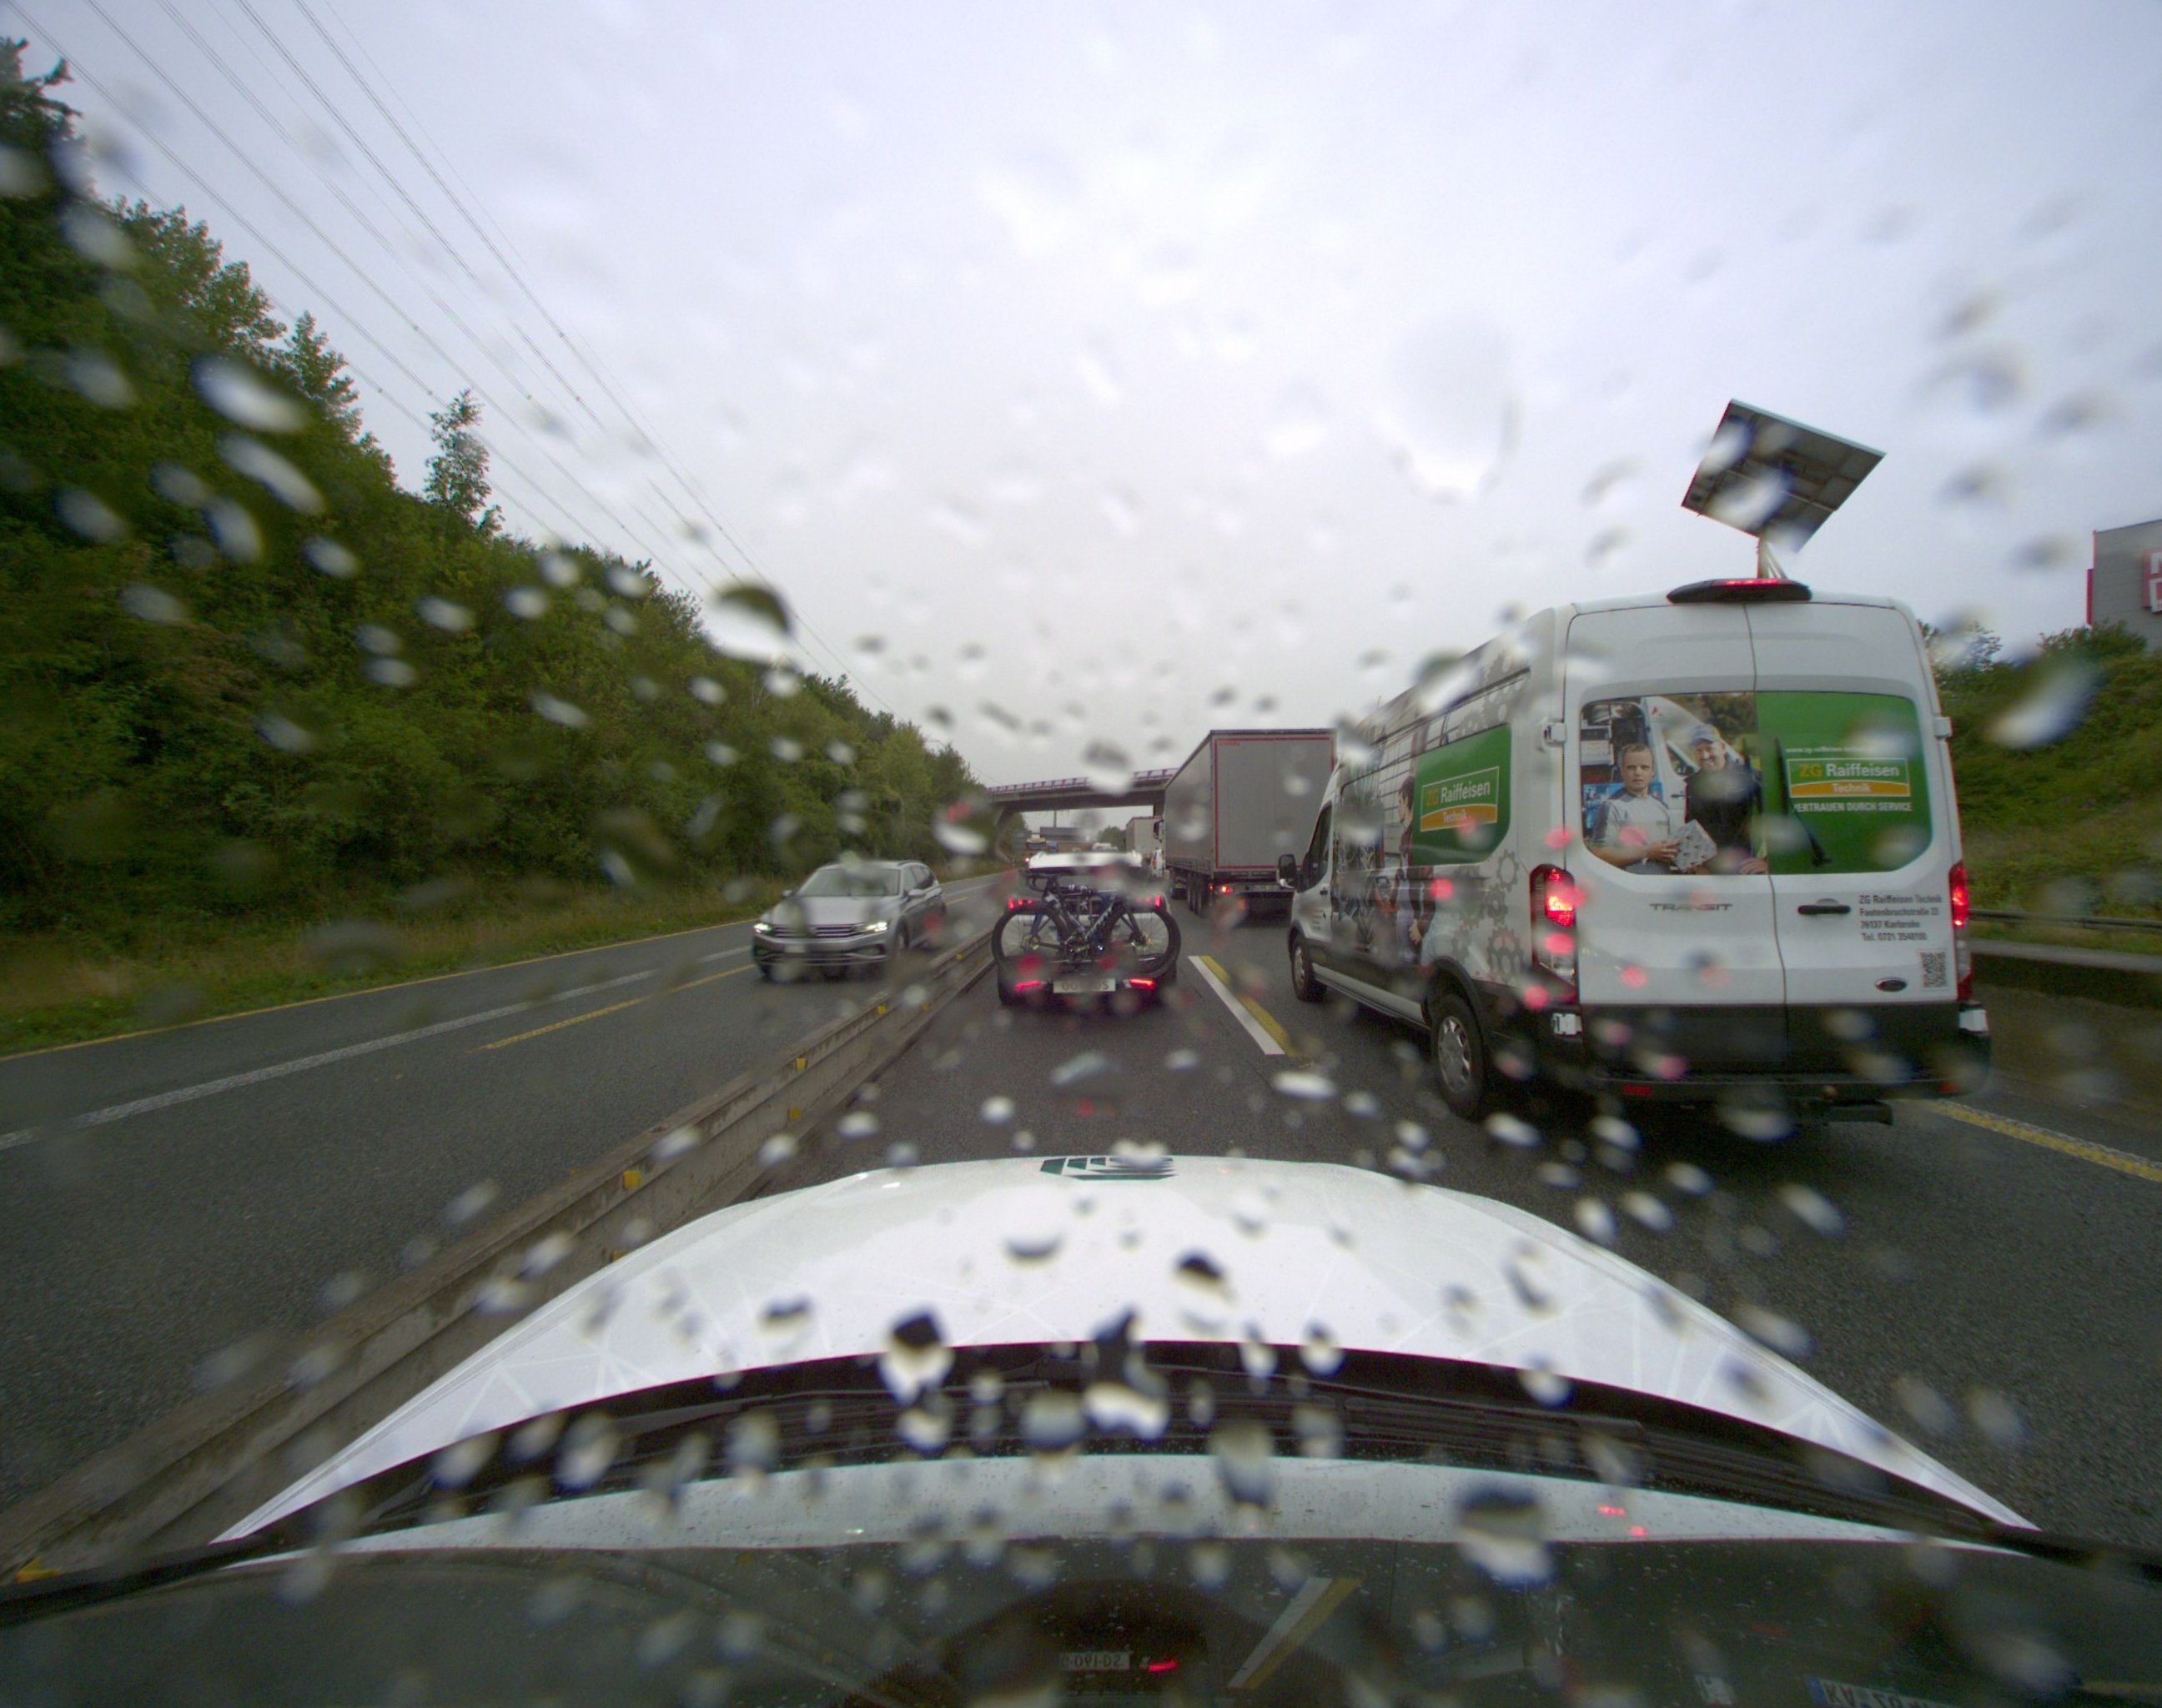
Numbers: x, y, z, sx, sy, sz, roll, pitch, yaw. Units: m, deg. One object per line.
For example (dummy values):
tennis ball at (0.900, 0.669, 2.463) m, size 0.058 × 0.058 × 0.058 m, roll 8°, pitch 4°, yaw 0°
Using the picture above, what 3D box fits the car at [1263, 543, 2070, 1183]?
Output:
car at (3.137, 0.059, 6.489) m, size 2.136 × 2.676 × 6.119 m, roll -1°, pitch -1°, yaw 2°

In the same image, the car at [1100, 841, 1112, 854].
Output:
car at (4.953, -1.229, 158.436) m, size 2.230 × 2.307 × 4.574 m, roll -1°, pitch -1°, yaw 2°

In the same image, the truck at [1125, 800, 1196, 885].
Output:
truck at (5.967, -0.720, 65.150) m, size 4.723 × 5.673 × 20.393 m, roll -1°, pitch 0°, yaw 3°

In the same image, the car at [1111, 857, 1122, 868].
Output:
car at (5.237, 1.208, 119.367) m, size 1.632 × 1.497 × 3.668 m, roll -1°, pitch 0°, yaw 2°

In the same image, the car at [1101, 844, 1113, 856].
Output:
car at (4.663, -0.687, 145.208) m, size 1.986 × 2.014 × 4.002 m, roll -1°, pitch -1°, yaw 2°

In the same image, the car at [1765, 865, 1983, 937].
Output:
car at (22.677, 1.259, 23.612) m, size 1.934 × 1.829 × 4.732 m, roll -1°, pitch 0°, yaw 4°

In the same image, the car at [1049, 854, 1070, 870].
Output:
car at (-2.030, 0.755, 76.893) m, size 1.773 × 1.443 × 4.329 m, roll -1°, pitch 0°, yaw 1°

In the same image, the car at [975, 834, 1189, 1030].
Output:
car at (0.142, 0.681, 9.213) m, size 1.802 × 1.637 × 4.639 m, roll -1°, pitch 0°, yaw 3°

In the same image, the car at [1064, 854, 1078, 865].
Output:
car at (-1.523, 0.771, 123.229) m, size 1.928 × 1.607 × 4.122 m, roll -1°, pitch 0°, yaw 2°

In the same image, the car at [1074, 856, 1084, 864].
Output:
car at (-0.327, 1.015, 147.489) m, size 1.680 × 1.409 × 3.930 m, roll -1°, pitch 0°, yaw 1°

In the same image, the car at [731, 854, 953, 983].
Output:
car at (-3.153, 0.771, 11.758) m, size 1.803 × 1.488 × 4.397 m, roll -1°, pitch 0°, yaw 1°

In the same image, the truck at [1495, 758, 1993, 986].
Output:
truck at (11.521, 0.285, 15.874) m, size 2.511 × 3.132 × 9.123 m, roll -1°, pitch 0°, yaw 2°

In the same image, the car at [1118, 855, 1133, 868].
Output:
car at (5.161, 0.862, 94.324) m, size 1.632 × 1.497 × 3.668 m, roll -1°, pitch 0°, yaw 2°

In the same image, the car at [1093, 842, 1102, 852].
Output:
car at (3.734, -1.508, 181.072) m, size 1.986 × 2.126 × 4.529 m, roll -1°, pitch -1°, yaw 2°

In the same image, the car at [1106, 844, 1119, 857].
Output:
car at (5.152, -0.498, 132.165) m, size 1.986 × 2.014 × 4.002 m, roll -1°, pitch -1°, yaw 2°

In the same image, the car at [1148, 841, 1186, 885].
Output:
car at (4.453, 0.451, 42.449) m, size 1.663 × 2.180 × 4.537 m, roll -1°, pitch -1°, yaw 2°

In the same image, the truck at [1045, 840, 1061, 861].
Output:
truck at (-5.863, -0.622, 167.873) m, size 2.760 × 4.123 × 16.906 m, roll -1°, pitch 0°, yaw -3°

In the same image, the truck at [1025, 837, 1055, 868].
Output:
truck at (-5.099, -0.163, 103.567) m, size 2.671 × 3.656 × 12.318 m, roll -1°, pitch 0°, yaw 2°

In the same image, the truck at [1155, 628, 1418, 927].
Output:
truck at (4.858, -1.391, 25.812) m, size 3.964 × 5.673 × 20.387 m, roll -1°, pitch 0°, yaw 2°

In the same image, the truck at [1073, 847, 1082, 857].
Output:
truck at (-0.987, -0.610, 265.670) m, size 2.526 × 3.352 × 12.053 m, roll -1°, pitch 0°, yaw 1°
